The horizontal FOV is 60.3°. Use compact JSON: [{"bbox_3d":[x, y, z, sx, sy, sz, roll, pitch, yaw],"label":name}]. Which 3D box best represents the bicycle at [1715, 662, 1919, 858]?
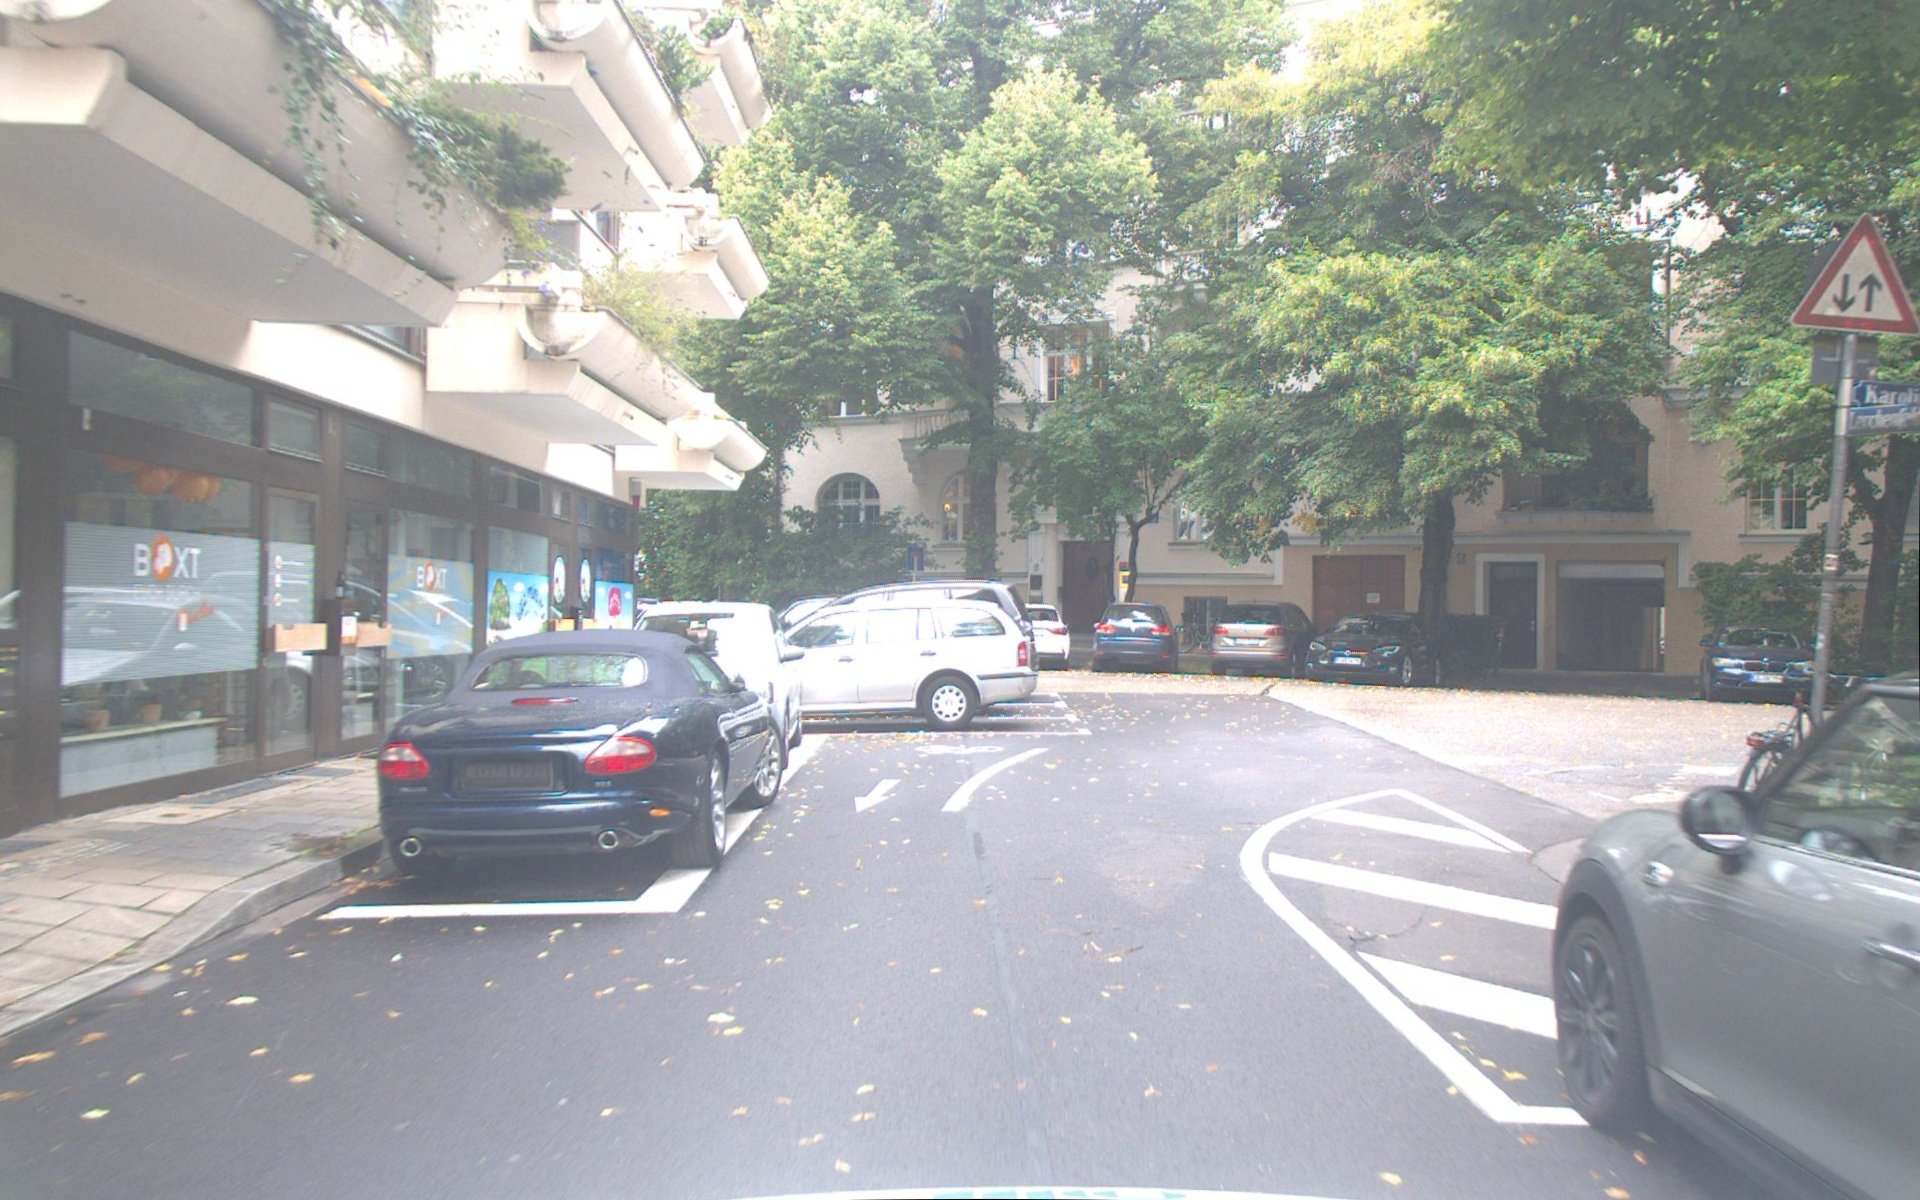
[{"bbox_3d":[5.648,0.998,10.769,1.753,1.157,0.547,1,-1,-36],"label":"bicycle"}]

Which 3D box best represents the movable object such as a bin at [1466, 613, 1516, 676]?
[{"bbox_3d":[11.808,0.975,36.769,0.845,1.328,1.431,3,1,25],"label":"movable object such as a bin"}]

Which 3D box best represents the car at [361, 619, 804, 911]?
[{"bbox_3d":[-2.027,0.815,10.245,1.760,1.300,4.615,-1,0,-1],"label":"car"}]

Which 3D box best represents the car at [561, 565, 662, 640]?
[{"bbox_3d":[-8.054,0.046,38.547,1.666,1.629,3.998,1,0,-3],"label":"car"}]

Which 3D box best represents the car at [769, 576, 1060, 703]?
[{"bbox_3d":[-0.683,0.561,24.646,4.135,1.713,1.901,-1,0,-3],"label":"car"}]

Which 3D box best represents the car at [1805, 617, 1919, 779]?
[{"bbox_3d":[9.524,0.886,13.828,1.918,1.401,4.722,1,0,-10],"label":"car"}]

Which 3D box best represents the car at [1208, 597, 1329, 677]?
[{"bbox_3d":[6.605,0.757,35.106,1.801,1.557,4.025,1,0,21],"label":"car"}]

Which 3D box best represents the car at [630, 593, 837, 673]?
[{"bbox_3d":[-4.004,0.578,29.134,3.395,1.307,1.523,1,0,-18],"label":"car"}]

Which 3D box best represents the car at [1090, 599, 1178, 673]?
[{"bbox_3d":[3.745,0.744,35.640,1.753,1.456,4.003,1,0,6],"label":"car"}]

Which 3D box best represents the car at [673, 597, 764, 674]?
[{"bbox_3d":[-5.505,0.774,38.034,1.666,1.629,3.998,1,0,-3],"label":"car"}]

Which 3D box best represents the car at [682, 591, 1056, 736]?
[{"bbox_3d":[-1.031,0.707,19.387,4.142,1.480,1.721,-2,0,-2],"label":"car"}]

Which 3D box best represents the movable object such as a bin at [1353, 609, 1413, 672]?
[{"bbox_3d":[9.732,0.921,38.030,1.127,1.372,1.156,2,1,25],"label":"movable object such as a bin"}]

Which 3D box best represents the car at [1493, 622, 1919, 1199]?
[{"bbox_3d":[2.727,0.811,3.815,1.707,1.466,4.000,0,0,0],"label":"car"}]

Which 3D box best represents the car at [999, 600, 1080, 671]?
[{"bbox_3d":[1.721,0.746,36.676,1.683,1.456,4.001,1,0,1],"label":"car"}]

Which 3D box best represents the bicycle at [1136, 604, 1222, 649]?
[{"bbox_3d":[5.837,0.702,44.066,2.186,1.135,0.576,1,0,28],"label":"bicycle"}]

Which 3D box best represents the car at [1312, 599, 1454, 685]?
[{"bbox_3d":[8.451,0.869,32.800,1.672,1.492,4.281,2,-2,29],"label":"car"}]

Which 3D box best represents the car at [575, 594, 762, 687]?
[{"bbox_3d":[-5.480,0.760,31.061,3.240,1.659,1.501,1,0,-21],"label":"car"}]

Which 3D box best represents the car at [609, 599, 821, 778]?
[{"bbox_3d":[-2.188,0.729,15.604,1.529,1.446,3.832,-1,0,-2],"label":"car"}]

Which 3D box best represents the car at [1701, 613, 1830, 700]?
[{"bbox_3d":[14.298,0.990,29.543,1.801,1.407,4.341,1,-1,23],"label":"car"}]

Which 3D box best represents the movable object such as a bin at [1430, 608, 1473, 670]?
[{"bbox_3d":[11.148,0.867,37.517,0.699,1.371,1.372,1,0,26],"label":"movable object such as a bin"}]
